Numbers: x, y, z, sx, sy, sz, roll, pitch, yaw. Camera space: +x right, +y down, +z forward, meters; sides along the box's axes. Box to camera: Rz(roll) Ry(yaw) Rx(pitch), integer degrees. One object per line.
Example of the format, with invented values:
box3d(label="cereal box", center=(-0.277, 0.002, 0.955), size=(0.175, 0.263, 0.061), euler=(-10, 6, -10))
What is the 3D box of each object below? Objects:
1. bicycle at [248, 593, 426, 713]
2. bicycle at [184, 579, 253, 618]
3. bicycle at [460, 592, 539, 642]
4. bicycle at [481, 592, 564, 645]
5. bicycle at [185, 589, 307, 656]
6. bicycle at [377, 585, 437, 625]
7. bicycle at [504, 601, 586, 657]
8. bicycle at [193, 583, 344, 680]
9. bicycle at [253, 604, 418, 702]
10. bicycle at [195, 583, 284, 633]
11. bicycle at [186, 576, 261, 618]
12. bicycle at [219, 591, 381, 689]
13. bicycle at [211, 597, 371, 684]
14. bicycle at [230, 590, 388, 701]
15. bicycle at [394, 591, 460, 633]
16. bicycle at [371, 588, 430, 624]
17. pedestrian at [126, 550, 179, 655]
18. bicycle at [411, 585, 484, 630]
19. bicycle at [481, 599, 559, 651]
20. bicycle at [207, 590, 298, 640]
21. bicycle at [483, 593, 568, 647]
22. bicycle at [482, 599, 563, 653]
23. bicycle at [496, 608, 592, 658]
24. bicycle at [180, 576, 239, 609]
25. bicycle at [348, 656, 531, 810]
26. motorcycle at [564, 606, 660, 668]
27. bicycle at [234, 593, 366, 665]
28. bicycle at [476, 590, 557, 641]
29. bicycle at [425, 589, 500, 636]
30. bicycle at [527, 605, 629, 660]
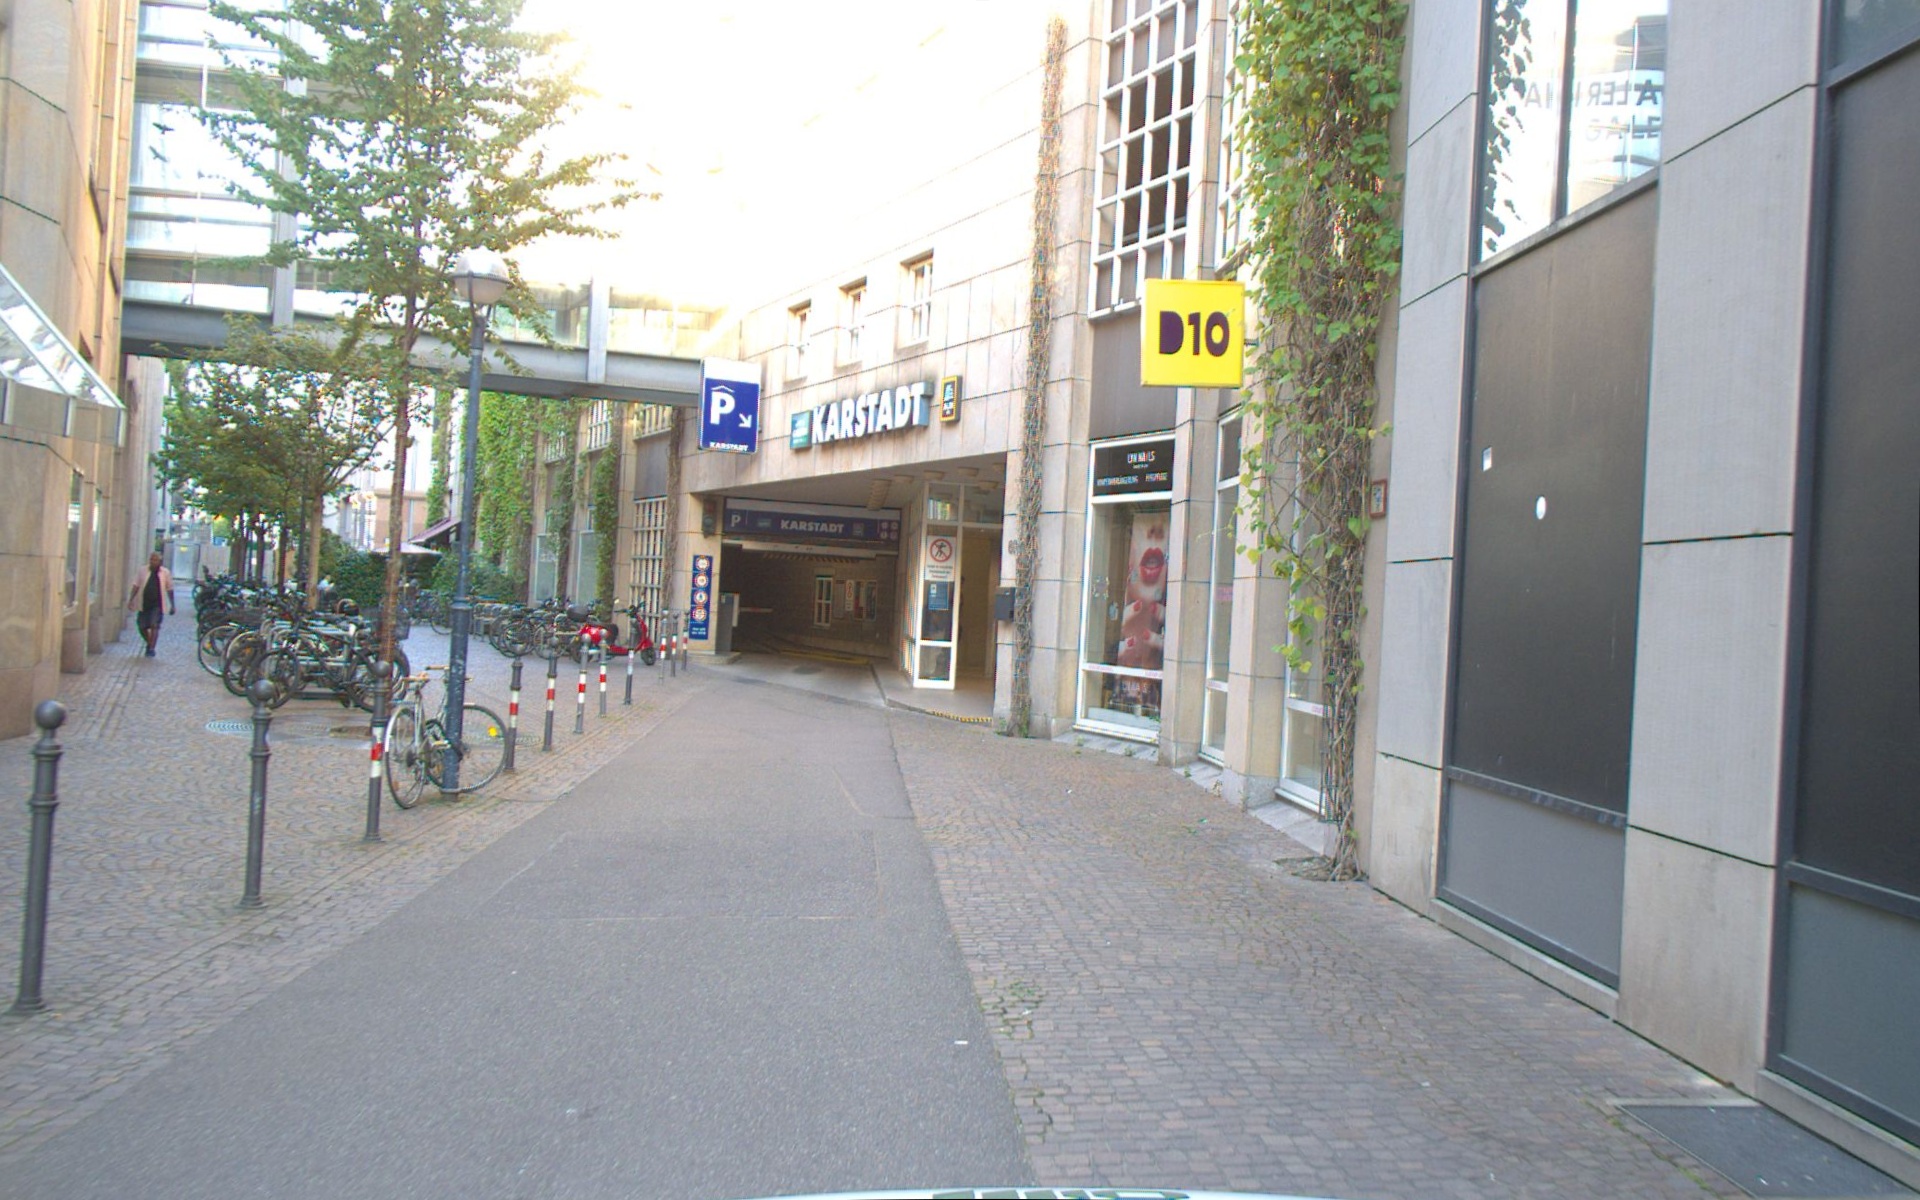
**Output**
box3d(label="bicycle", center=(-6.799, 0.583, 18.084), size=(1.745, 1.252, 0.529), euler=(2, 0, -28))
box3d(label="bicycle", center=(-22.683, -0.038, 50.617), size=(1.882, 1.131, 0.477), euler=(2, 0, -28))
box3d(label="bicycle", center=(-11.178, 0.410, 40.187), size=(1.751, 1.134, 0.538), euler=(2, 0, -26))
box3d(label="bicycle", center=(-10.070, 0.425, 38.061), size=(1.751, 1.134, 0.538), euler=(2, 0, -26))
box3d(label="bicycle", center=(-11.879, 0.382, 27.530), size=(1.803, 1.061, 0.529), euler=(2, 0, -28))
box3d(label="bicycle", center=(-17.679, 0.174, 52.897), size=(1.751, 1.211, 0.582), euler=(2, 0, -26))
box3d(label="bicycle", center=(-8.425, 0.595, 33.574), size=(1.520, 1.067, 0.571), euler=(2, 0, -26))
box3d(label="bicycle", center=(-9.275, 0.425, 22.205), size=(1.812, 1.246, 0.529), euler=(2, 0, -28))
box3d(label="bicycle", center=(-7.612, 0.654, 20.190), size=(1.815, 1.142, 0.529), euler=(2, 0, -28))
box3d(label="bicycle", center=(-15.928, 0.182, 36.584), size=(1.759, 1.037, 0.477), euler=(2, 0, -28))
box3d(label="bicycle", center=(-20.768, -0.080, 46.658), size=(1.882, 1.131, 0.477), euler=(2, 0, -28))
box3d(label="bicycle", center=(-8.399, 0.515, 21.076), size=(1.850, 1.198, 0.529), euler=(2, 0, -28))
box3d(label="bicycle", center=(-8.716, 0.535, 21.579), size=(1.872, 1.070, 0.529), euler=(2, 0, -28))
box3d(label="bicycle", center=(-7.590, 0.536, 19.299), size=(1.634, 1.252, 0.529), euler=(2, 0, -28))
box3d(label="bicycle", center=(-15.435, 0.341, 47.885), size=(1.749, 1.134, 0.539), euler=(2, 0, -23))
box3d(label="bicycle", center=(-18.209, 0.204, 53.852), size=(1.751, 1.098, 0.582), euler=(2, 0, -26))
box3d(label="pedestrian", center=(-12.708, 0.032, 26.027), size=(0.689, 1.610, 0.713), euler=(2, 0, -27))
box3d(label="bicycle", center=(-13.649, 0.198, 44.052), size=(1.751, 1.134, 0.538), euler=(2, 0, -26))
box3d(label="bicycle", center=(-9.536, 0.544, 35.855), size=(1.520, 1.067, 0.571), euler=(2, 0, -26))
box3d(label="bicycle", center=(-15.302, 0.327, 35.800), size=(1.759, 1.037, 0.477), euler=(2, 0, -28))
box3d(label="bicycle", center=(-9.726, 0.453, 37.015), size=(1.751, 1.134, 0.538), euler=(2, 0, -26))
box3d(label="bicycle", center=(-9.121, 0.538, 34.492), size=(1.520, 1.067, 0.571), euler=(2, 0, -26))
box3d(label="bicycle", center=(-8.206, 0.656, 32.641), size=(1.751, 0.919, 0.460), euler=(2, 0, -26))
box3d(label="bicycle", center=(-27.087, -0.254, 59.740), size=(1.883, 1.131, 0.476), euler=(2, 0, -29))
box3d(label="bicycle", center=(-3.700, 0.916, 11.900), size=(0.482, 0.955, 1.660), euler=(4, 0, 10))
box3d(label="motorcycle", center=(-6.372, 0.683, 30.321), size=(1.642, 1.069, 0.460), euler=(2, 0, -26))
box3d(label="bicycle", center=(-10.325, 0.458, 25.906), size=(1.855, 1.061, 0.529), euler=(2, 0, -28))
box3d(label="bicycle", center=(-10.521, 0.367, 39.226), size=(1.751, 1.134, 0.538), euler=(2, 0, -26))
box3d(label="bicycle", center=(-12.736, 0.330, 42.324), size=(1.751, 1.134, 0.538), euler=(2, 0, -26))
box3d(label="bicycle", center=(-7.355, 0.627, 31.864), size=(1.824, 0.999, 0.460), euler=(2, 0, -26))
